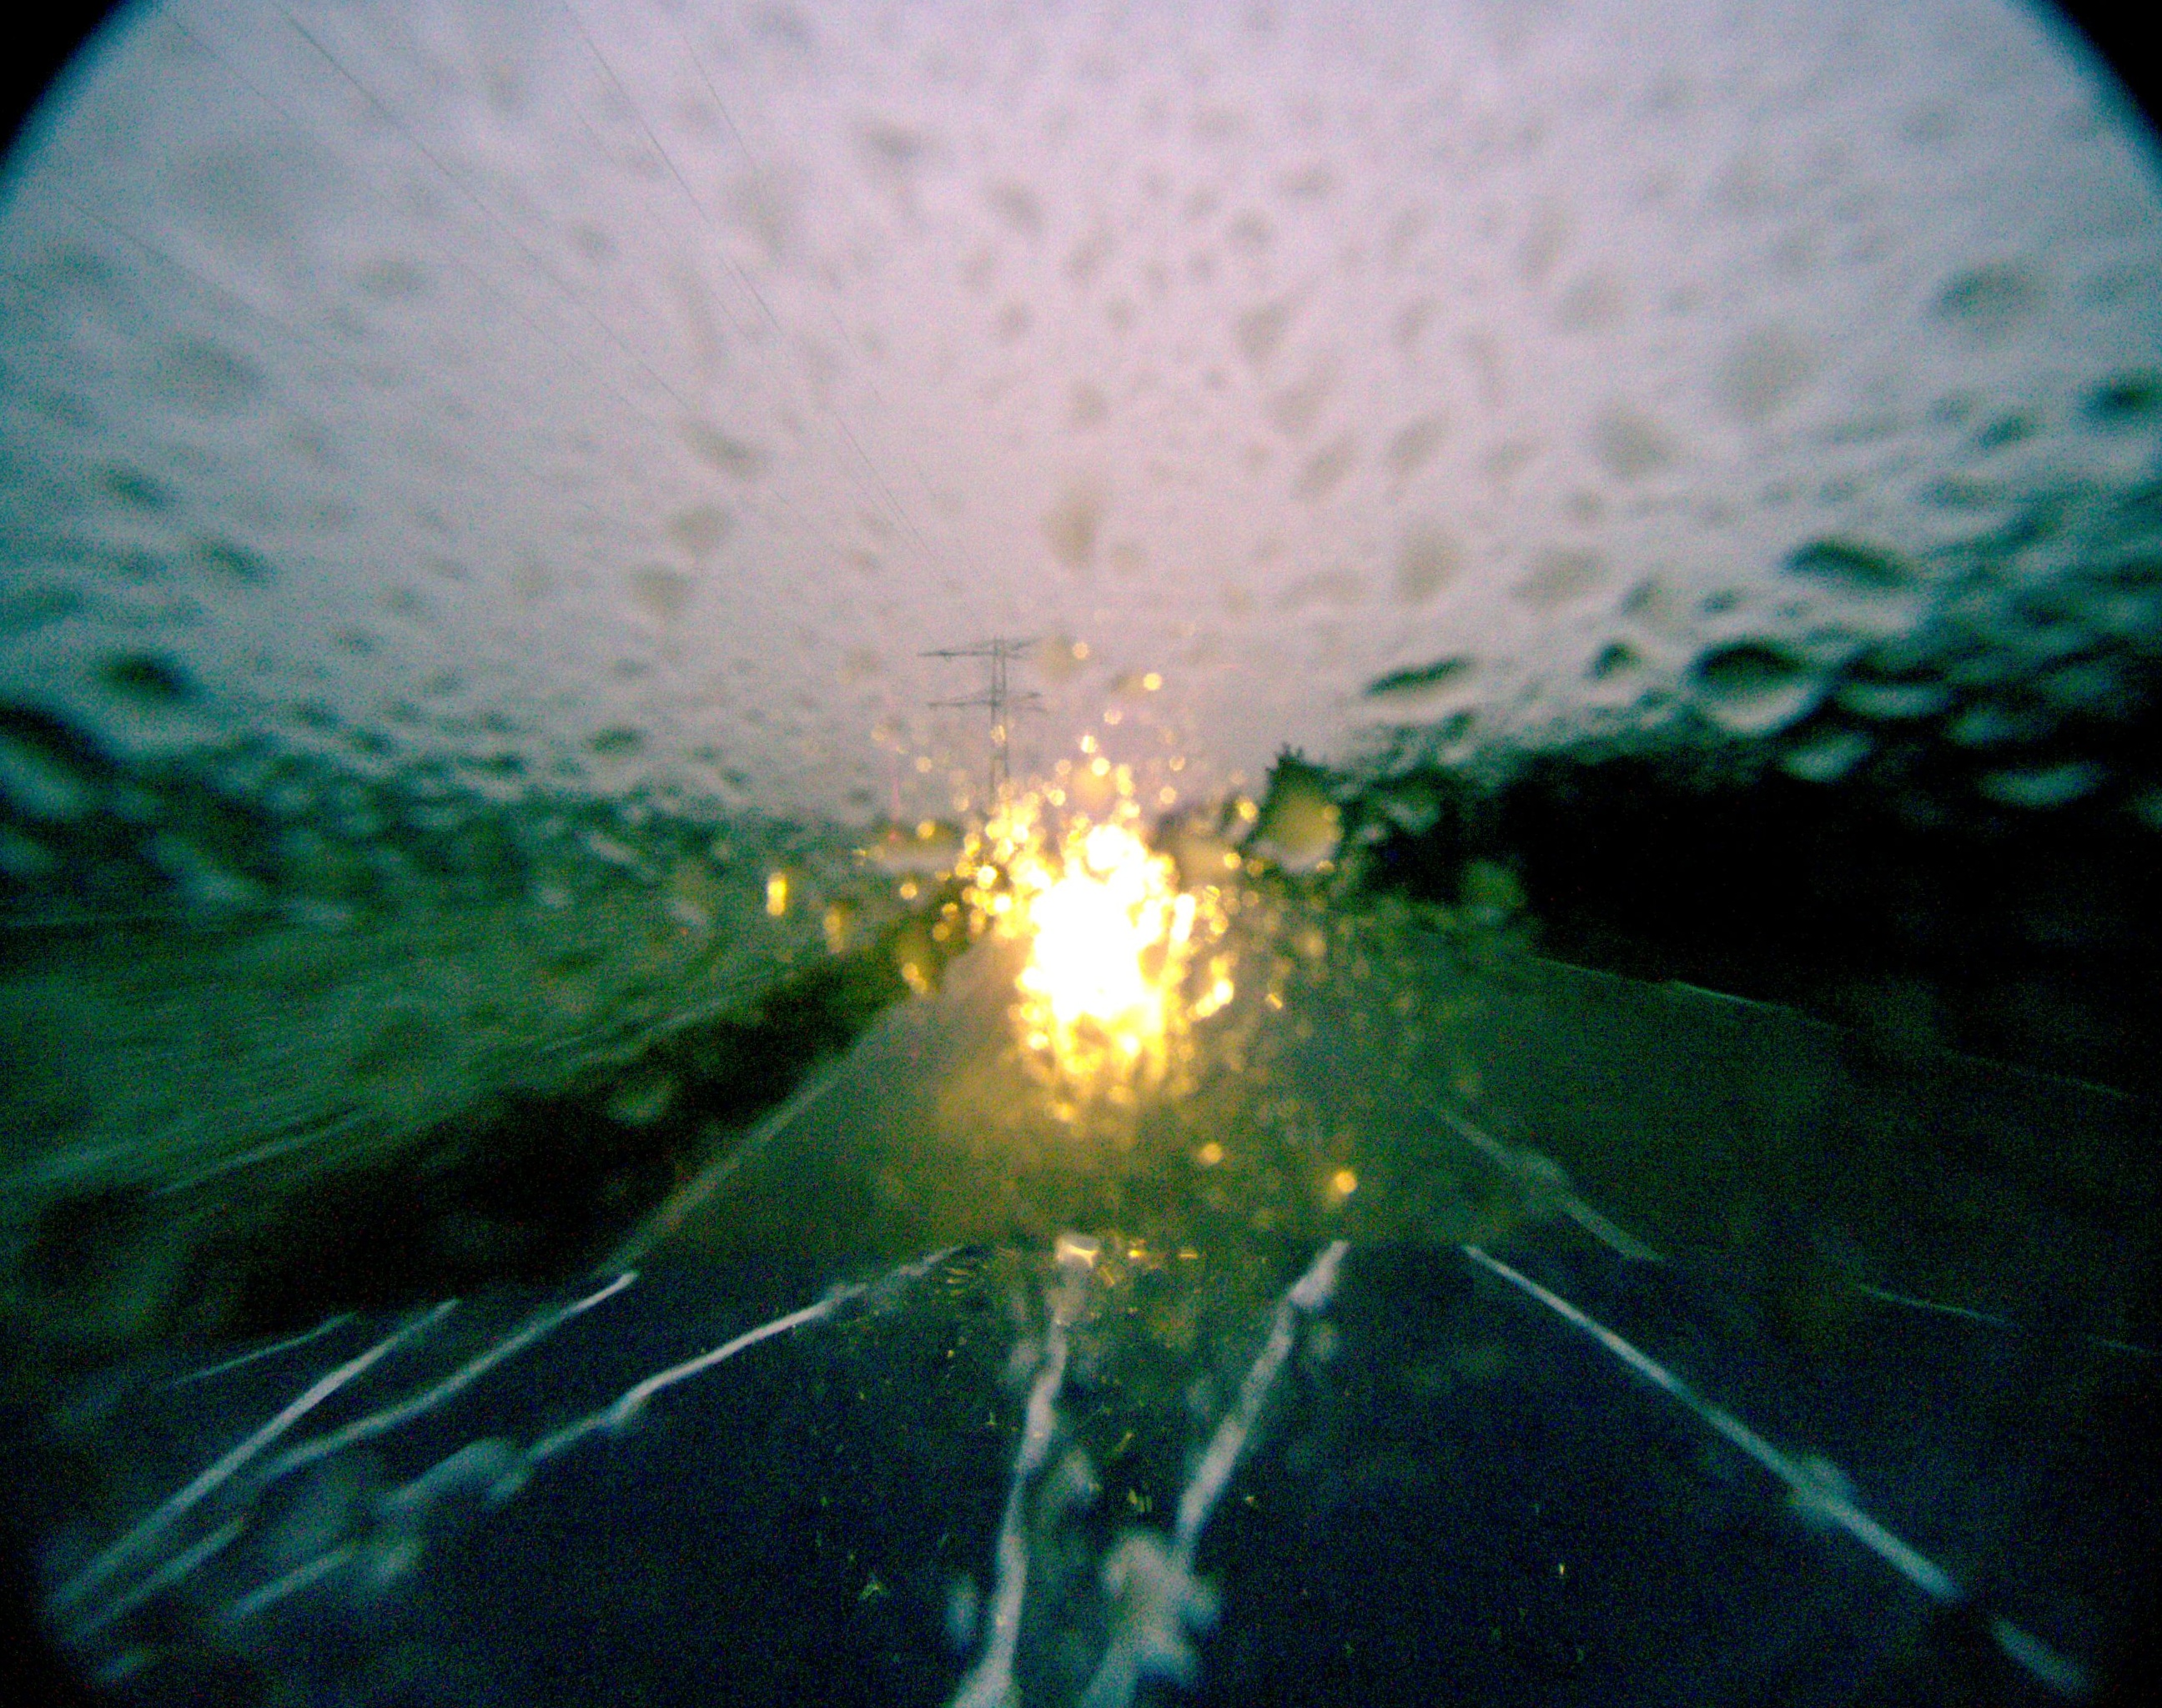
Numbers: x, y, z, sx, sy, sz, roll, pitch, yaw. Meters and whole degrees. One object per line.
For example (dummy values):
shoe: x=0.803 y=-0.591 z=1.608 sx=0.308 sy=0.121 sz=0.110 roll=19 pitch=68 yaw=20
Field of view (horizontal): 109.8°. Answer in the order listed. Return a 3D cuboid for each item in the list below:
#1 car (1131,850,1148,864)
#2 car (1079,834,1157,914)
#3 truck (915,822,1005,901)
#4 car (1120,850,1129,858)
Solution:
car: x=6.746 y=0.325 z=88.126 sx=1.773 sy=1.582 sz=4.164 roll=-2 pitch=0 yaw=2
car: x=0.951 y=0.496 z=21.710 sx=1.857 sy=2.002 sz=3.999 roll=-2 pitch=1 yaw=-2
truck: x=-5.095 y=0.242 z=33.480 sx=2.540 sy=2.961 sz=7.856 roll=-2 pitch=1 yaw=1
car: x=9.049 y=-0.066 z=157.319 sx=1.676 sy=1.621 sz=3.976 roll=-2 pitch=0 yaw=2
